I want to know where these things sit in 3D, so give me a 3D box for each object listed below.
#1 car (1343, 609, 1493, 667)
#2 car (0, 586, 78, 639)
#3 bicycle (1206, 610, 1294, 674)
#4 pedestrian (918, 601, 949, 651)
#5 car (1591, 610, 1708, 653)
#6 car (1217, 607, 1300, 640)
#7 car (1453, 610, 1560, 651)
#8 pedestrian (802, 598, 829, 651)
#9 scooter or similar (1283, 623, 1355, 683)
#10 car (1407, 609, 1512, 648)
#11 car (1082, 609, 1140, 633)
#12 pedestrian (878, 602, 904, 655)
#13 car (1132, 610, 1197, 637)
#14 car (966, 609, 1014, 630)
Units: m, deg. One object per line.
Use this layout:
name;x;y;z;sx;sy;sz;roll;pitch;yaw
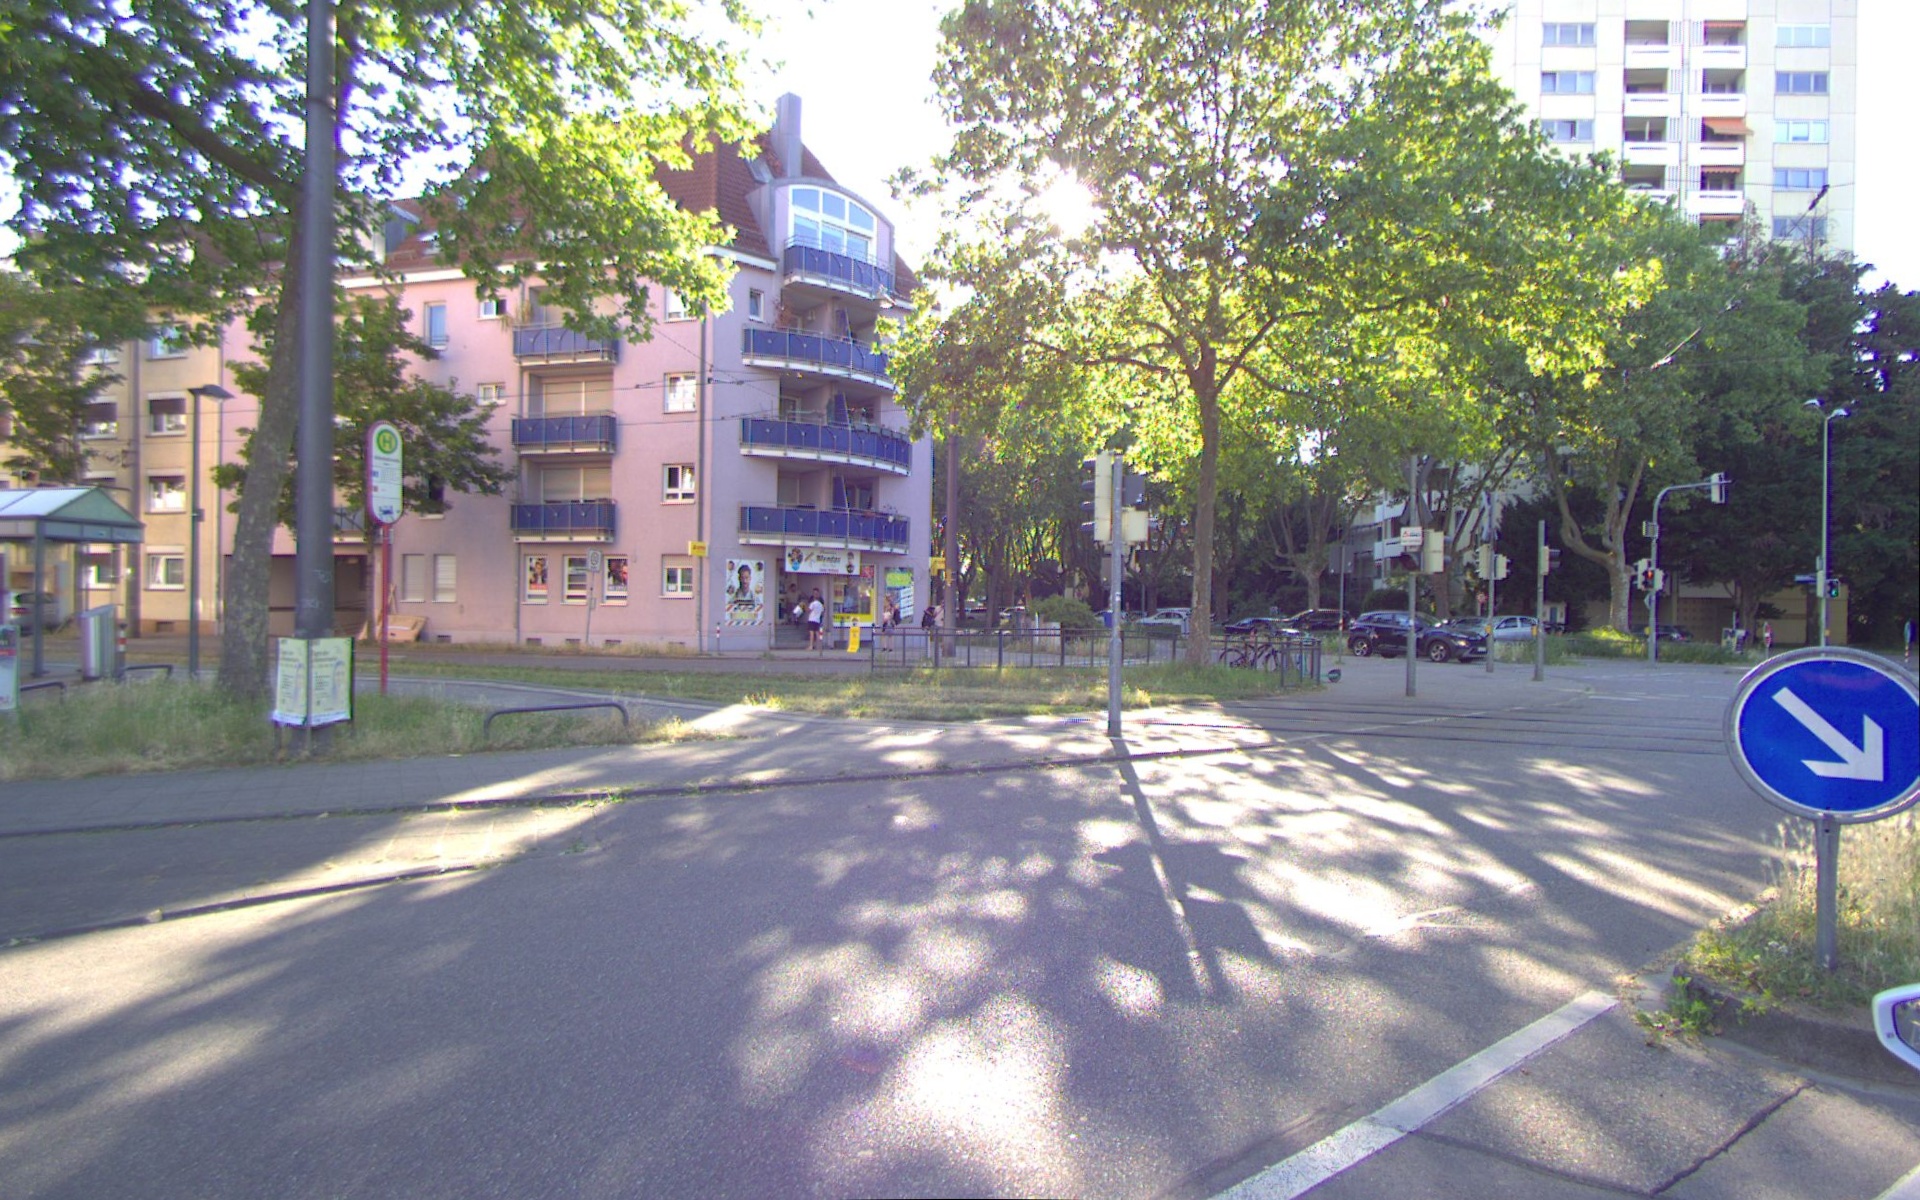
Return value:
car;14.281;1.152;31.497;1.722;1.617;3.959;2;0;-36
car;-33.475;0.392;35.218;4.029;1.728;1.940;2;0;16
bicycle;6.402;0.911;22.245;1.811;1.324;0.382;2;0;34
pedestrian;-0.917;0.881;34.780;0.907;1.689;0.620;2;0;16
car;31.623;1.411;46.201;1.971;1.798;3.979;2;0;-22
car;15.916;1.240;53.681;3.921;1.617;1.738;2;0;0
car;23.887;1.309;43.982;3.732;1.617;1.738;2;0;0
pedestrian;-4.708;0.797;32.696;0.610;1.689;0.549;2;0;38
scooter or similar;7.925;1.161;22.203;1.412;1.255;0.414;2;0;9
car;22.844;1.298;46.032;3.921;1.617;1.738;2;0;0
car;11.087;1.522;73.897;3.921;1.617;1.738;2;0;0
pedestrian;-2.225;0.914;32.299;0.613;1.689;0.546;2;0;-32
car;13.406;1.551;65.983;3.921;1.617;1.738;2;0;0
car;2.612;1.668;86.366;3.919;1.617;1.739;2;0;9
